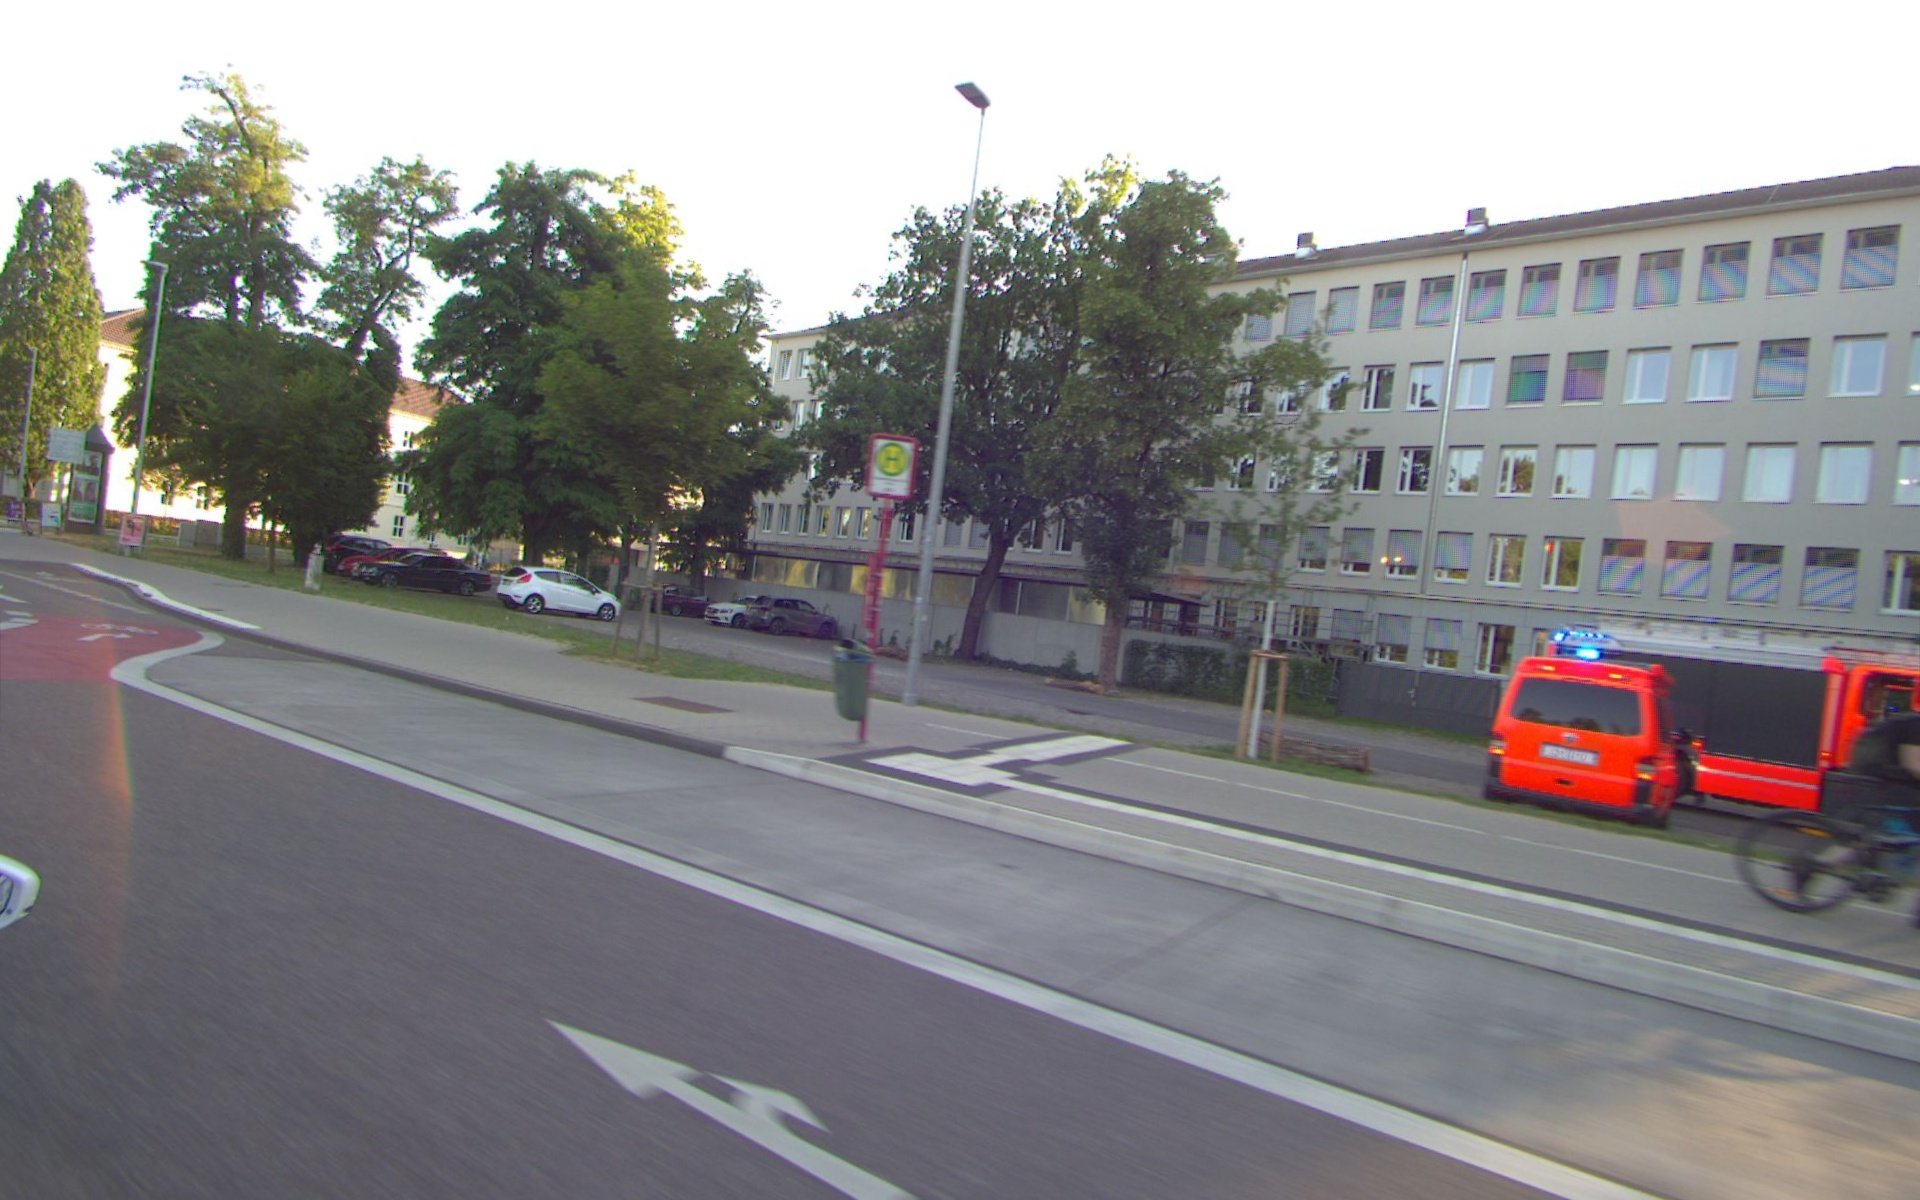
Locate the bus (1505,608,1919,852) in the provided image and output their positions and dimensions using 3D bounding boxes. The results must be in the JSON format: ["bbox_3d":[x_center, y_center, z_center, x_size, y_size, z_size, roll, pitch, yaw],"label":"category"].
[{"bbox_3d":[14.396,2.242,17.582,7.854,3.233,2.985,6,-2,42],"label":"bus"}]

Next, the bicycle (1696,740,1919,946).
[{"bbox_3d":[6.419,1.712,6.971,1.935,1.111,0.831,7,1,30],"label":"bicycle"}]

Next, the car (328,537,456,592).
[{"bbox_3d":[-22.606,-1.384,40.154,1.760,1.580,3.983,7,-1,41],"label":"car"}]

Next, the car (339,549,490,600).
[{"bbox_3d":[-20.469,-0.940,37.914,1.872,1.467,4.567,5,-1,36],"label":"car"}]

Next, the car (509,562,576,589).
[{"bbox_3d":[-29.874,-1.734,72.000,1.794,1.358,3.984,6,-1,40],"label":"car"}]

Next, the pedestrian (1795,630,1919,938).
[{"bbox_3d":[6.621,1.278,7.206,0.684,2.039,0.724,7,1,31],"label":"pedestrian"}]

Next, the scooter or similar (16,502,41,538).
[{"bbox_3d":[-34.494,-2.971,37.262,1.290,1.246,0.311,7,0,34],"label":"scooter or similar"}]

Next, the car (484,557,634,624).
[{"bbox_3d":[-12.854,-0.268,32.457,1.883,1.555,3.989,7,-2,37],"label":"car"}]

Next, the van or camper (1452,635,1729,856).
[{"bbox_3d":[8.848,1.952,13.893,2.264,2.270,4.809,7,-2,42],"label":"van or camper"}]

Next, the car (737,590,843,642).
[{"bbox_3d":[-7.167,0.702,42.589,1.887,1.635,3.983,5,-3,43],"label":"car"}]

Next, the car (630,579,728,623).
[{"bbox_3d":[-13.229,0.066,47.508,1.874,1.458,3.987,7,-2,39],"label":"car"}]

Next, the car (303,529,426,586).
[{"bbox_3d":[-24.861,-1.743,42.079,1.809,1.714,3.898,7,-2,38],"label":"car"}]

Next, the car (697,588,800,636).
[{"bbox_3d":[-9.164,0.539,43.824,1.808,1.492,3.985,6,-2,41],"label":"car"}]
